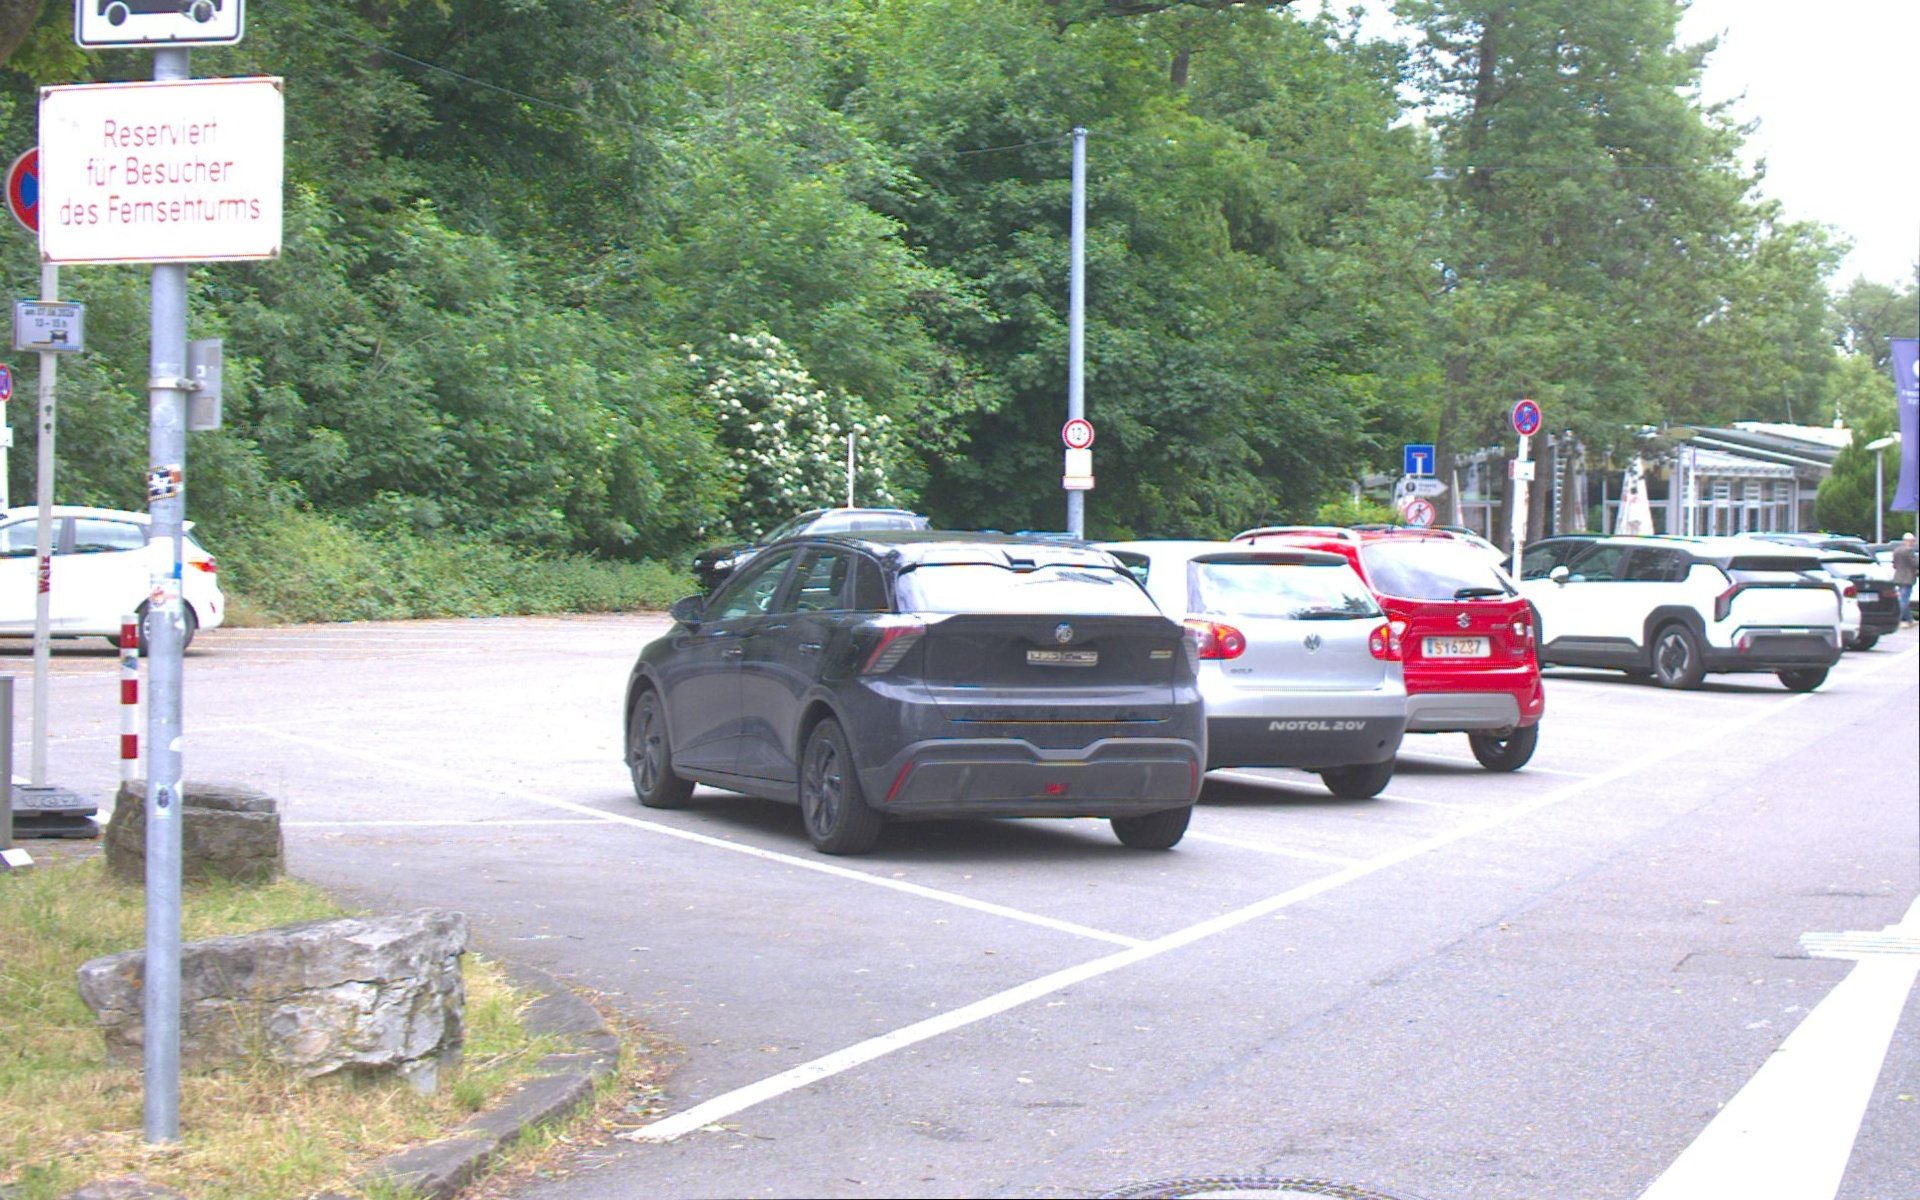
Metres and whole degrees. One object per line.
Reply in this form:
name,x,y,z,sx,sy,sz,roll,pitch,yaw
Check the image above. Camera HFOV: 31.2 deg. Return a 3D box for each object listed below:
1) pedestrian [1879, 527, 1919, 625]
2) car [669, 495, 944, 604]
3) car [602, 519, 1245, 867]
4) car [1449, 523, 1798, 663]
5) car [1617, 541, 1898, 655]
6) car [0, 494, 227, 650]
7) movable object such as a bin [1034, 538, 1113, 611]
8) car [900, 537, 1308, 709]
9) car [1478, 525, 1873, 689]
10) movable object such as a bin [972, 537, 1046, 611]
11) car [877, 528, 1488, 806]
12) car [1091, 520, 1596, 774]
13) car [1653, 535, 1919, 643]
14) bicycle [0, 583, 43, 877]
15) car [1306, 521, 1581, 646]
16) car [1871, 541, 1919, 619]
pedestrian,16.853,-0.424,60.673,0.894,1.719,0.764,1,1,-23
car,-2.505,-0.827,56.111,4.057,1.679,1.881,1,1,-23
car,-0.331,0.377,17.363,1.824,1.518,4.102,1,1,-22
car,7.890,-0.119,41.212,1.867,1.549,4.000,0,2,-32
car,10.943,-0.048,47.415,1.766,1.438,3.847,1,1,-24
car,-9.512,-0.298,34.297,3.986,1.505,1.870,0,1,-24
movable object such as a bin,2.062,-0.467,62.548,1.168,1.303,1.314,1,1,-9
car,1.251,0.170,31.992,1.863,1.437,4.317,0,1,-28
car,7.501,0.033,36.437,1.840,1.591,4.191,0,2,-27
movable object such as a bin,0.880,-0.477,62.373,1.123,1.310,1.185,1,1,-9
car,1.230,0.342,20.874,1.870,1.478,4.001,1,1,-27
car,2.555,0.267,23.723,1.681,1.580,3.655,0,1,-28
car,12.192,-0.185,50.217,1.754,1.438,4.279,1,1,-27
bicycle,-4.448,0.470,13.336,1.785,1.108,0.482,2,1,23
car,6.823,-0.265,48.956,1.892,1.657,4.001,1,1,-27
car,18.657,-0.398,65.807,1.895,1.423,3.996,2,1,21
